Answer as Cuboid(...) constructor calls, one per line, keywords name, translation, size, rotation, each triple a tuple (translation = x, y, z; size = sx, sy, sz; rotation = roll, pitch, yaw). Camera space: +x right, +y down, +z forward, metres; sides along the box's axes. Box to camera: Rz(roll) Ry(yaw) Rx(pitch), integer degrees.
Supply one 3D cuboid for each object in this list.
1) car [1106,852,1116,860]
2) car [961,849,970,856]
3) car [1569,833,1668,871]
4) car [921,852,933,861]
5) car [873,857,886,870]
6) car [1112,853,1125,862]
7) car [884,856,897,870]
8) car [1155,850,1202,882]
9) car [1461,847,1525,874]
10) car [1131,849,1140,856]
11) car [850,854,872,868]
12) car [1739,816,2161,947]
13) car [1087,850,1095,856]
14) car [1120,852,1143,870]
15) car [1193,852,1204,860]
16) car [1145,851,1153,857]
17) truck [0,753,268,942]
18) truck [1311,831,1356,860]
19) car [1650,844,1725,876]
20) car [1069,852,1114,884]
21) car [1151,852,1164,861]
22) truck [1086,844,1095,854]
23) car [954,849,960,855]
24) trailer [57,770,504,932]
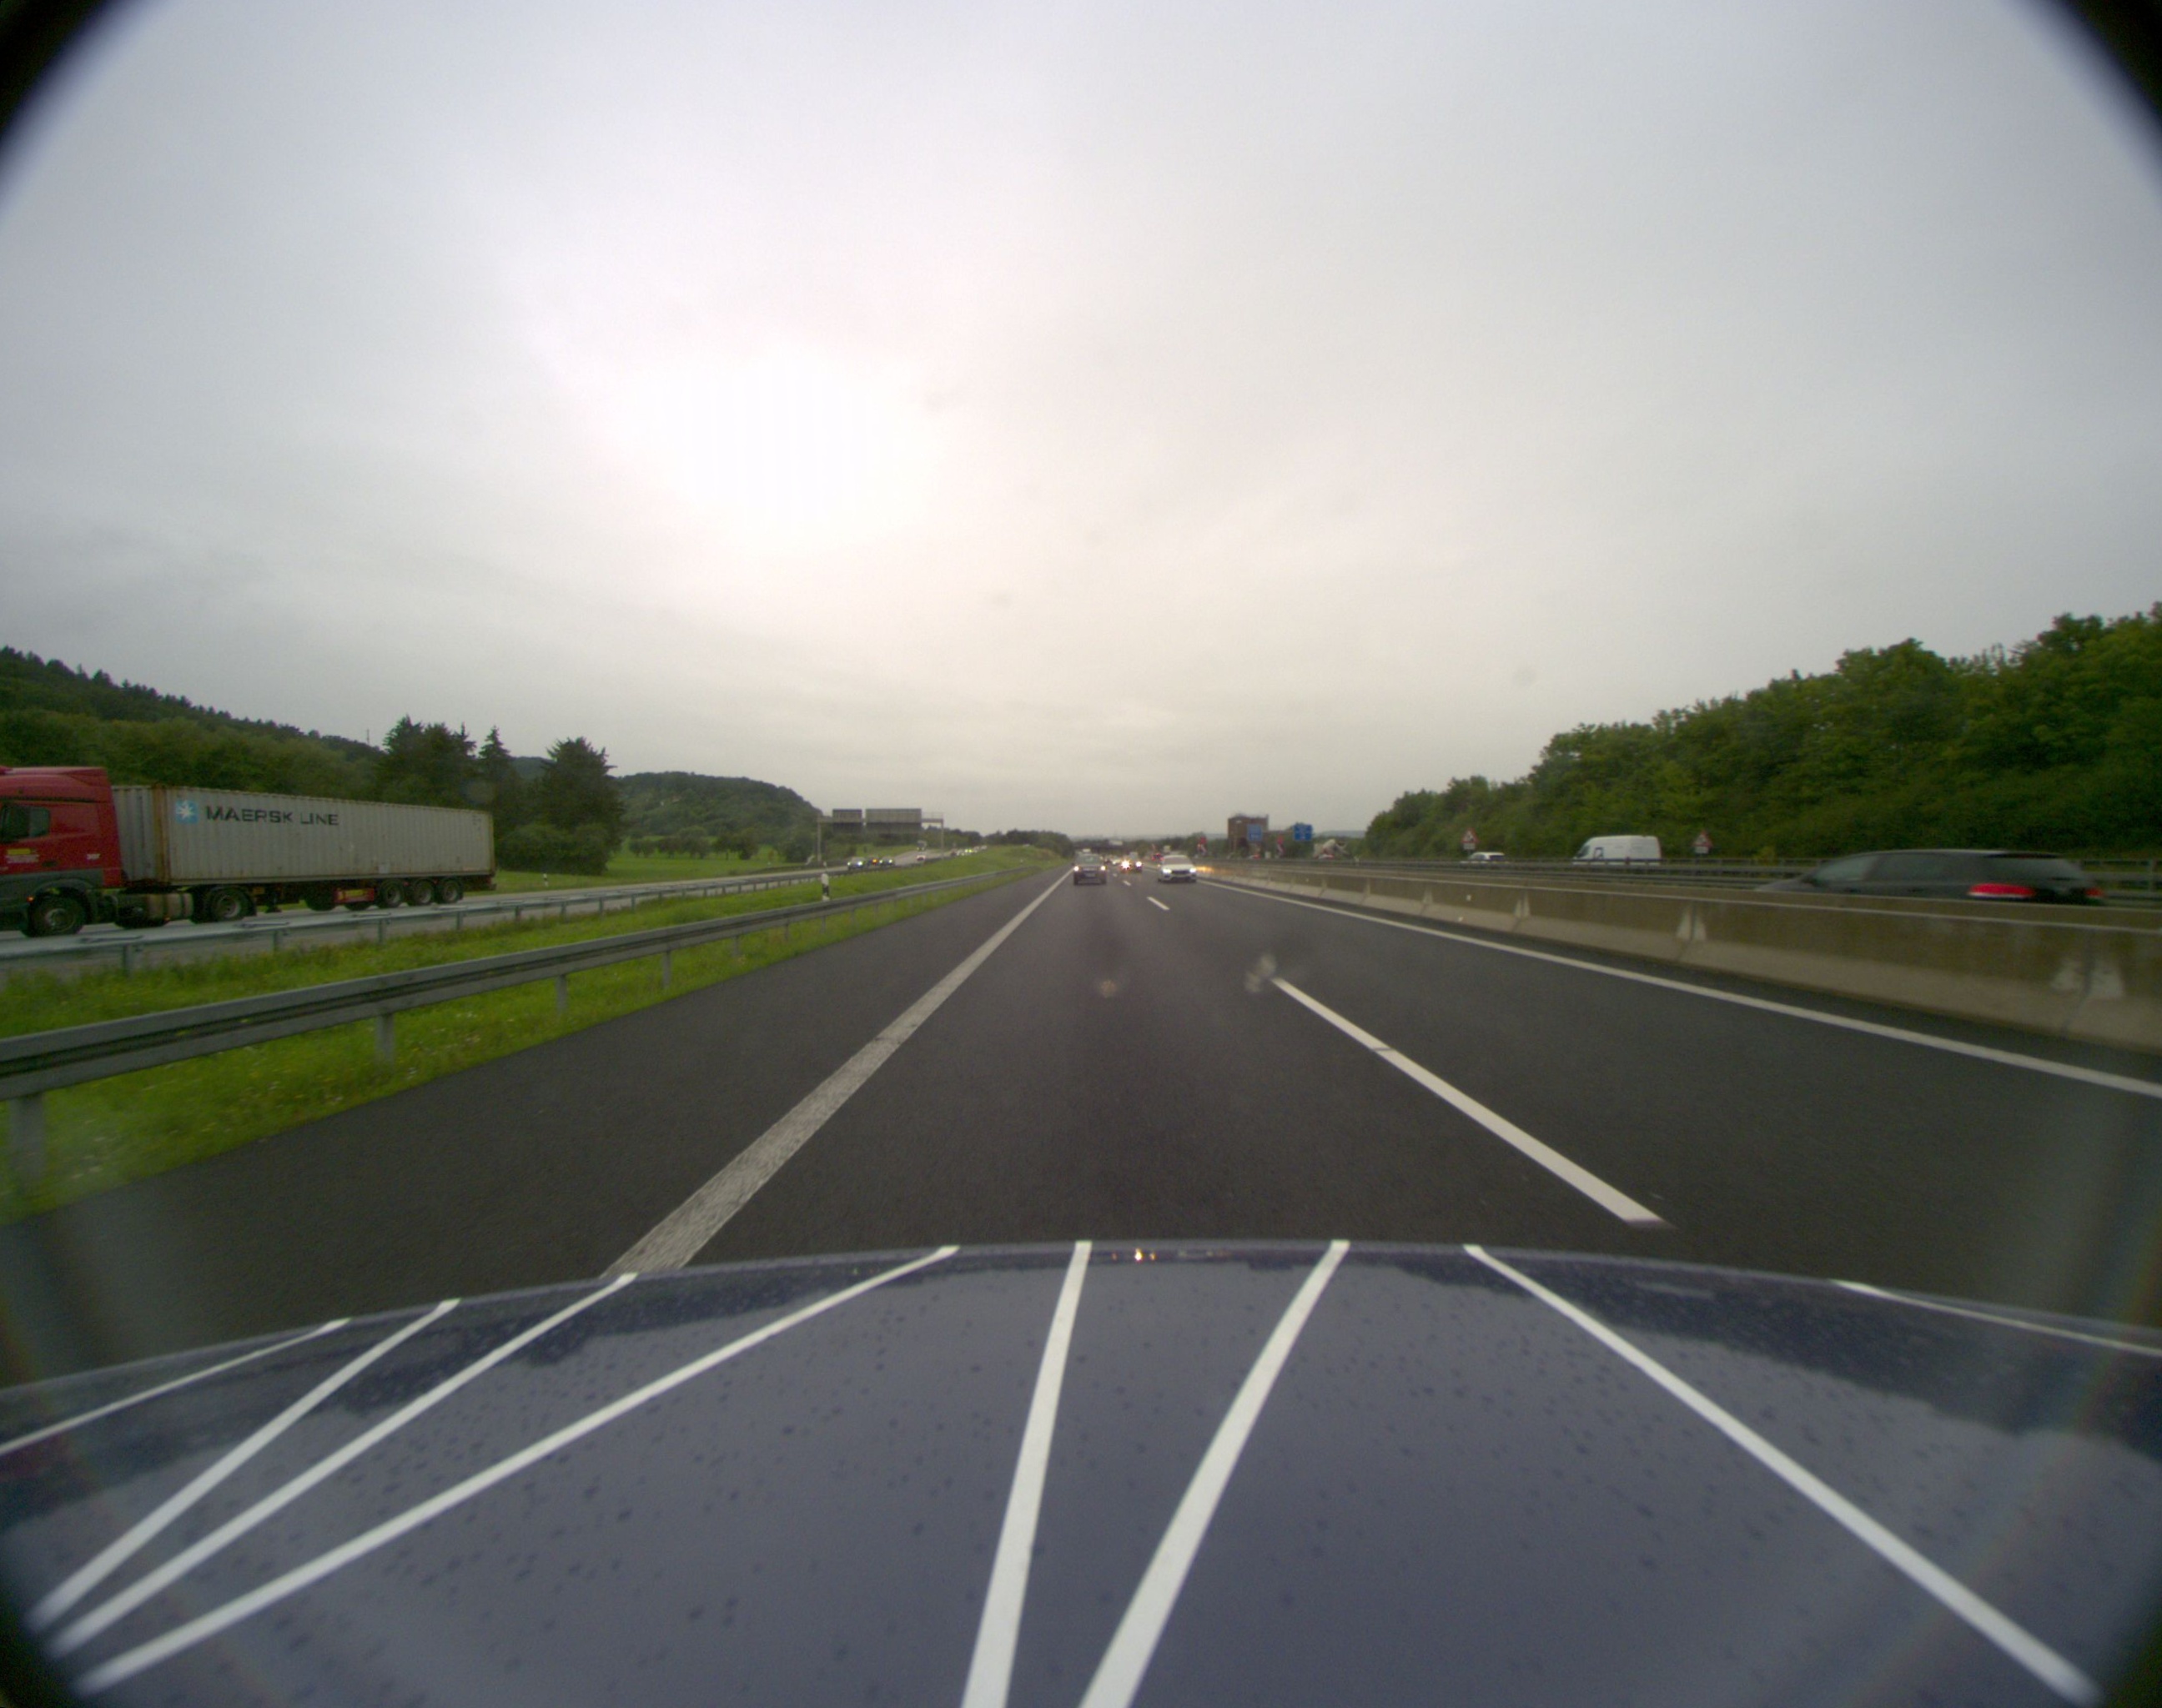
Cuboid(name="car", translation=(6.160, 0.467, 155.696), size=(1.998, 1.565, 4.000), rotation=(-2, 0, 1))
Cuboid(name="car", translation=(-33.531, -0.510, 220.806), size=(1.734, 2.002, 3.999), rotation=(-2, 1, 0))
Cuboid(name="car", translation=(32.670, -0.125, 46.426), size=(1.998, 2.200, 5.715), rotation=(-1, 0, 0))
Cuboid(name="car", translation=(-34.079, 0.591, 168.009), size=(1.999, 2.002, 3.998), rotation=(-1, 0, -4))
Cuboid(name="car", translation=(-32.754, 1.491, 123.351), size=(1.654, 2.002, 3.996), rotation=(-1, 0, -9))
Cuboid(name="car", translation=(5.874, 0.541, 118.701), size=(1.942, 1.341, 4.000), rotation=(-2, 0, 1))
Cuboid(name="car", translation=(-29.417, 1.383, 117.518), size=(1.654, 2.002, 3.996), rotation=(-1, 0, -9))
Cuboid(name="car", translation=(5.220, 0.602, 41.376), size=(1.998, 1.582, 4.816), rotation=(-1, 0, 1))
Cuboid(name="car", translation=(28.693, 0.426, 53.115), size=(1.999, 1.727, 4.582), rotation=(-1, 0, 0))
Cuboid(name="car", translation=(15.068, -0.454, 210.973), size=(2.363, 1.683, 5.907), rotation=(-1, 0, 2))
Cuboid(name="car", translation=(-27.567, 0.877, 95.335), size=(2.000, 1.710, 4.315), rotation=(-1, 0, -8))
Cuboid(name="car", translation=(12.911, 0.348, 11.746), size=(1.998, 1.608, 4.000), rotation=(-2, 0, 1))
Cuboid(name="car", translation=(2.502, -0.257, 188.527), size=(1.942, 1.341, 4.000), rotation=(-3, 0, 1))
Cuboid(name="car", translation=(4.363, 0.602, 66.588), size=(1.835, 1.417, 4.368), rotation=(-1, 0, 2))
Cuboid(name="car", translation=(30.363, 0.426, 196.018), size=(1.999, 2.002, 4.714), rotation=(-2, 1, 0))
Cuboid(name="car", translation=(19.234, -0.044, 215.317), size=(1.998, 1.427, 4.679), rotation=(-2, 0, 0))
Cuboid(name="truck", translation=(-24.201, -0.094, 18.522), size=(2.515, 3.964, 5.924), rotation=(-3, 1, -5))
Cuboid(name="truck", translation=(33.597, -1.047, 101.446), size=(2.692, 3.640, 9.557), rotation=(-1, 0, 0))
Cuboid(name="car", translation=(39.579, 0.384, 49.709), size=(1.754, 2.002, 4.000), rotation=(-1, 0, 2))
Cuboid(name="car", translation=(0.643, 0.722, 41.305), size=(2.242, 1.565, 4.817), rotation=(-2, 0, 2))
Cuboid(name="car", translation=(14.620, 0.538, 145.531), size=(1.999, 1.641, 5.026), rotation=(-2, 0, -1))
Cuboid(name="truck", translation=(3.191, -1.741, 258.223), size=(2.728, 3.098, 7.960), rotation=(-3, 0, 1))
Cuboid(name="car", translation=(-38.234, -0.579, 233.806), size=(1.585, 1.543, 3.997), rotation=(-3, 1, -6))
Cuboid(name="trailer", translation=(-24.805, -0.106, 25.304), size=(2.498, 3.961, 12.398), rotation=(-3, 0, -5))
